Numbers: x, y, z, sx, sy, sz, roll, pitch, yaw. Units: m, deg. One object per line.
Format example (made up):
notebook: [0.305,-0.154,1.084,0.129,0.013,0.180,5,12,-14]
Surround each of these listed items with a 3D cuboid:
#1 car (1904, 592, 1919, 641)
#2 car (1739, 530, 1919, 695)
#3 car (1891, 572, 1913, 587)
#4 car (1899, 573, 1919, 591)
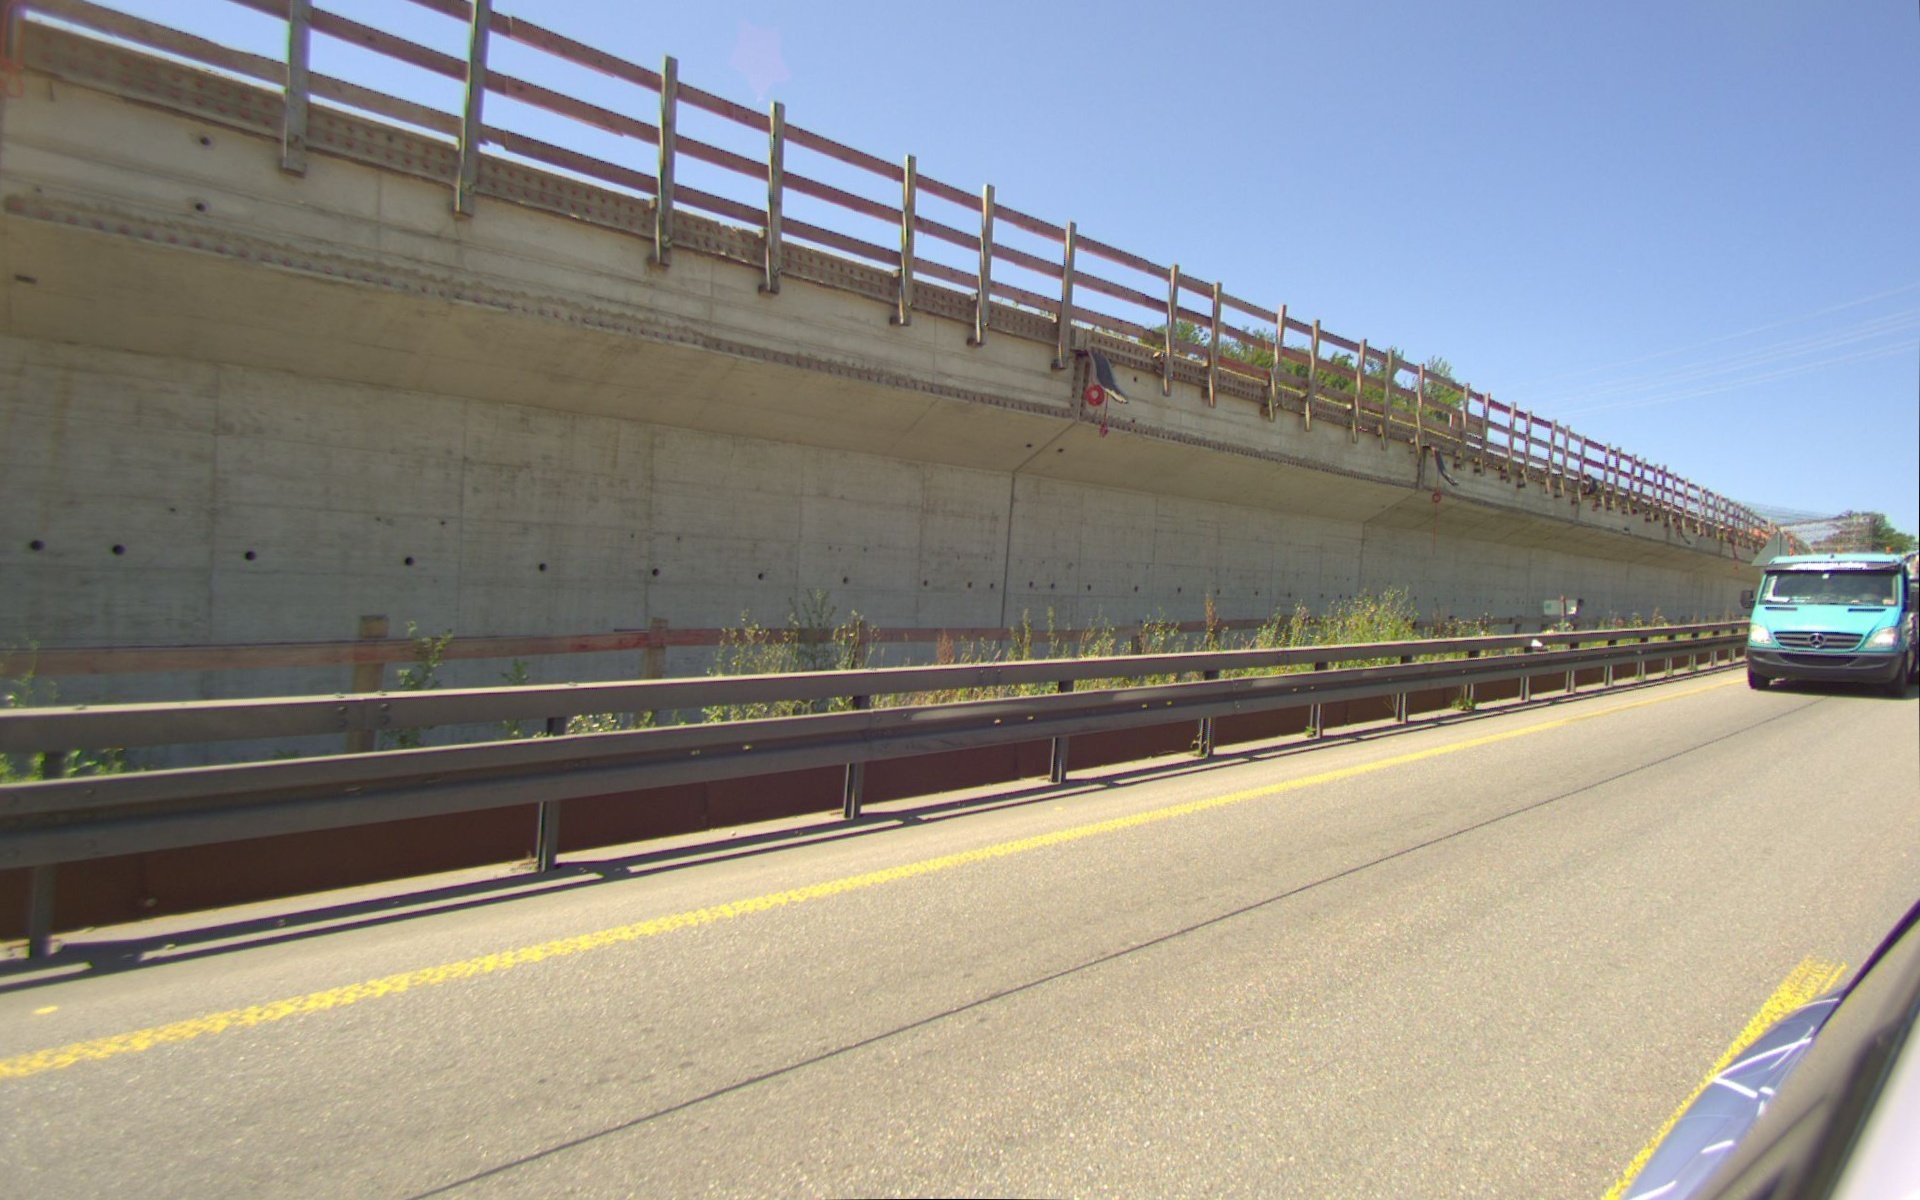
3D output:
car: [30.407,0.481,31.195,3.527,1.426,1.736,-2,1,-44]
car: [15.477,0.091,17.520,6.789,2.354,2.213,-2,2,-44]
car: [104.419,-2.283,112.197,3.289,1.697,1.584,-2,1,-43]
car: [88.589,-1.681,94.151,3.289,1.691,1.584,-2,1,-43]
